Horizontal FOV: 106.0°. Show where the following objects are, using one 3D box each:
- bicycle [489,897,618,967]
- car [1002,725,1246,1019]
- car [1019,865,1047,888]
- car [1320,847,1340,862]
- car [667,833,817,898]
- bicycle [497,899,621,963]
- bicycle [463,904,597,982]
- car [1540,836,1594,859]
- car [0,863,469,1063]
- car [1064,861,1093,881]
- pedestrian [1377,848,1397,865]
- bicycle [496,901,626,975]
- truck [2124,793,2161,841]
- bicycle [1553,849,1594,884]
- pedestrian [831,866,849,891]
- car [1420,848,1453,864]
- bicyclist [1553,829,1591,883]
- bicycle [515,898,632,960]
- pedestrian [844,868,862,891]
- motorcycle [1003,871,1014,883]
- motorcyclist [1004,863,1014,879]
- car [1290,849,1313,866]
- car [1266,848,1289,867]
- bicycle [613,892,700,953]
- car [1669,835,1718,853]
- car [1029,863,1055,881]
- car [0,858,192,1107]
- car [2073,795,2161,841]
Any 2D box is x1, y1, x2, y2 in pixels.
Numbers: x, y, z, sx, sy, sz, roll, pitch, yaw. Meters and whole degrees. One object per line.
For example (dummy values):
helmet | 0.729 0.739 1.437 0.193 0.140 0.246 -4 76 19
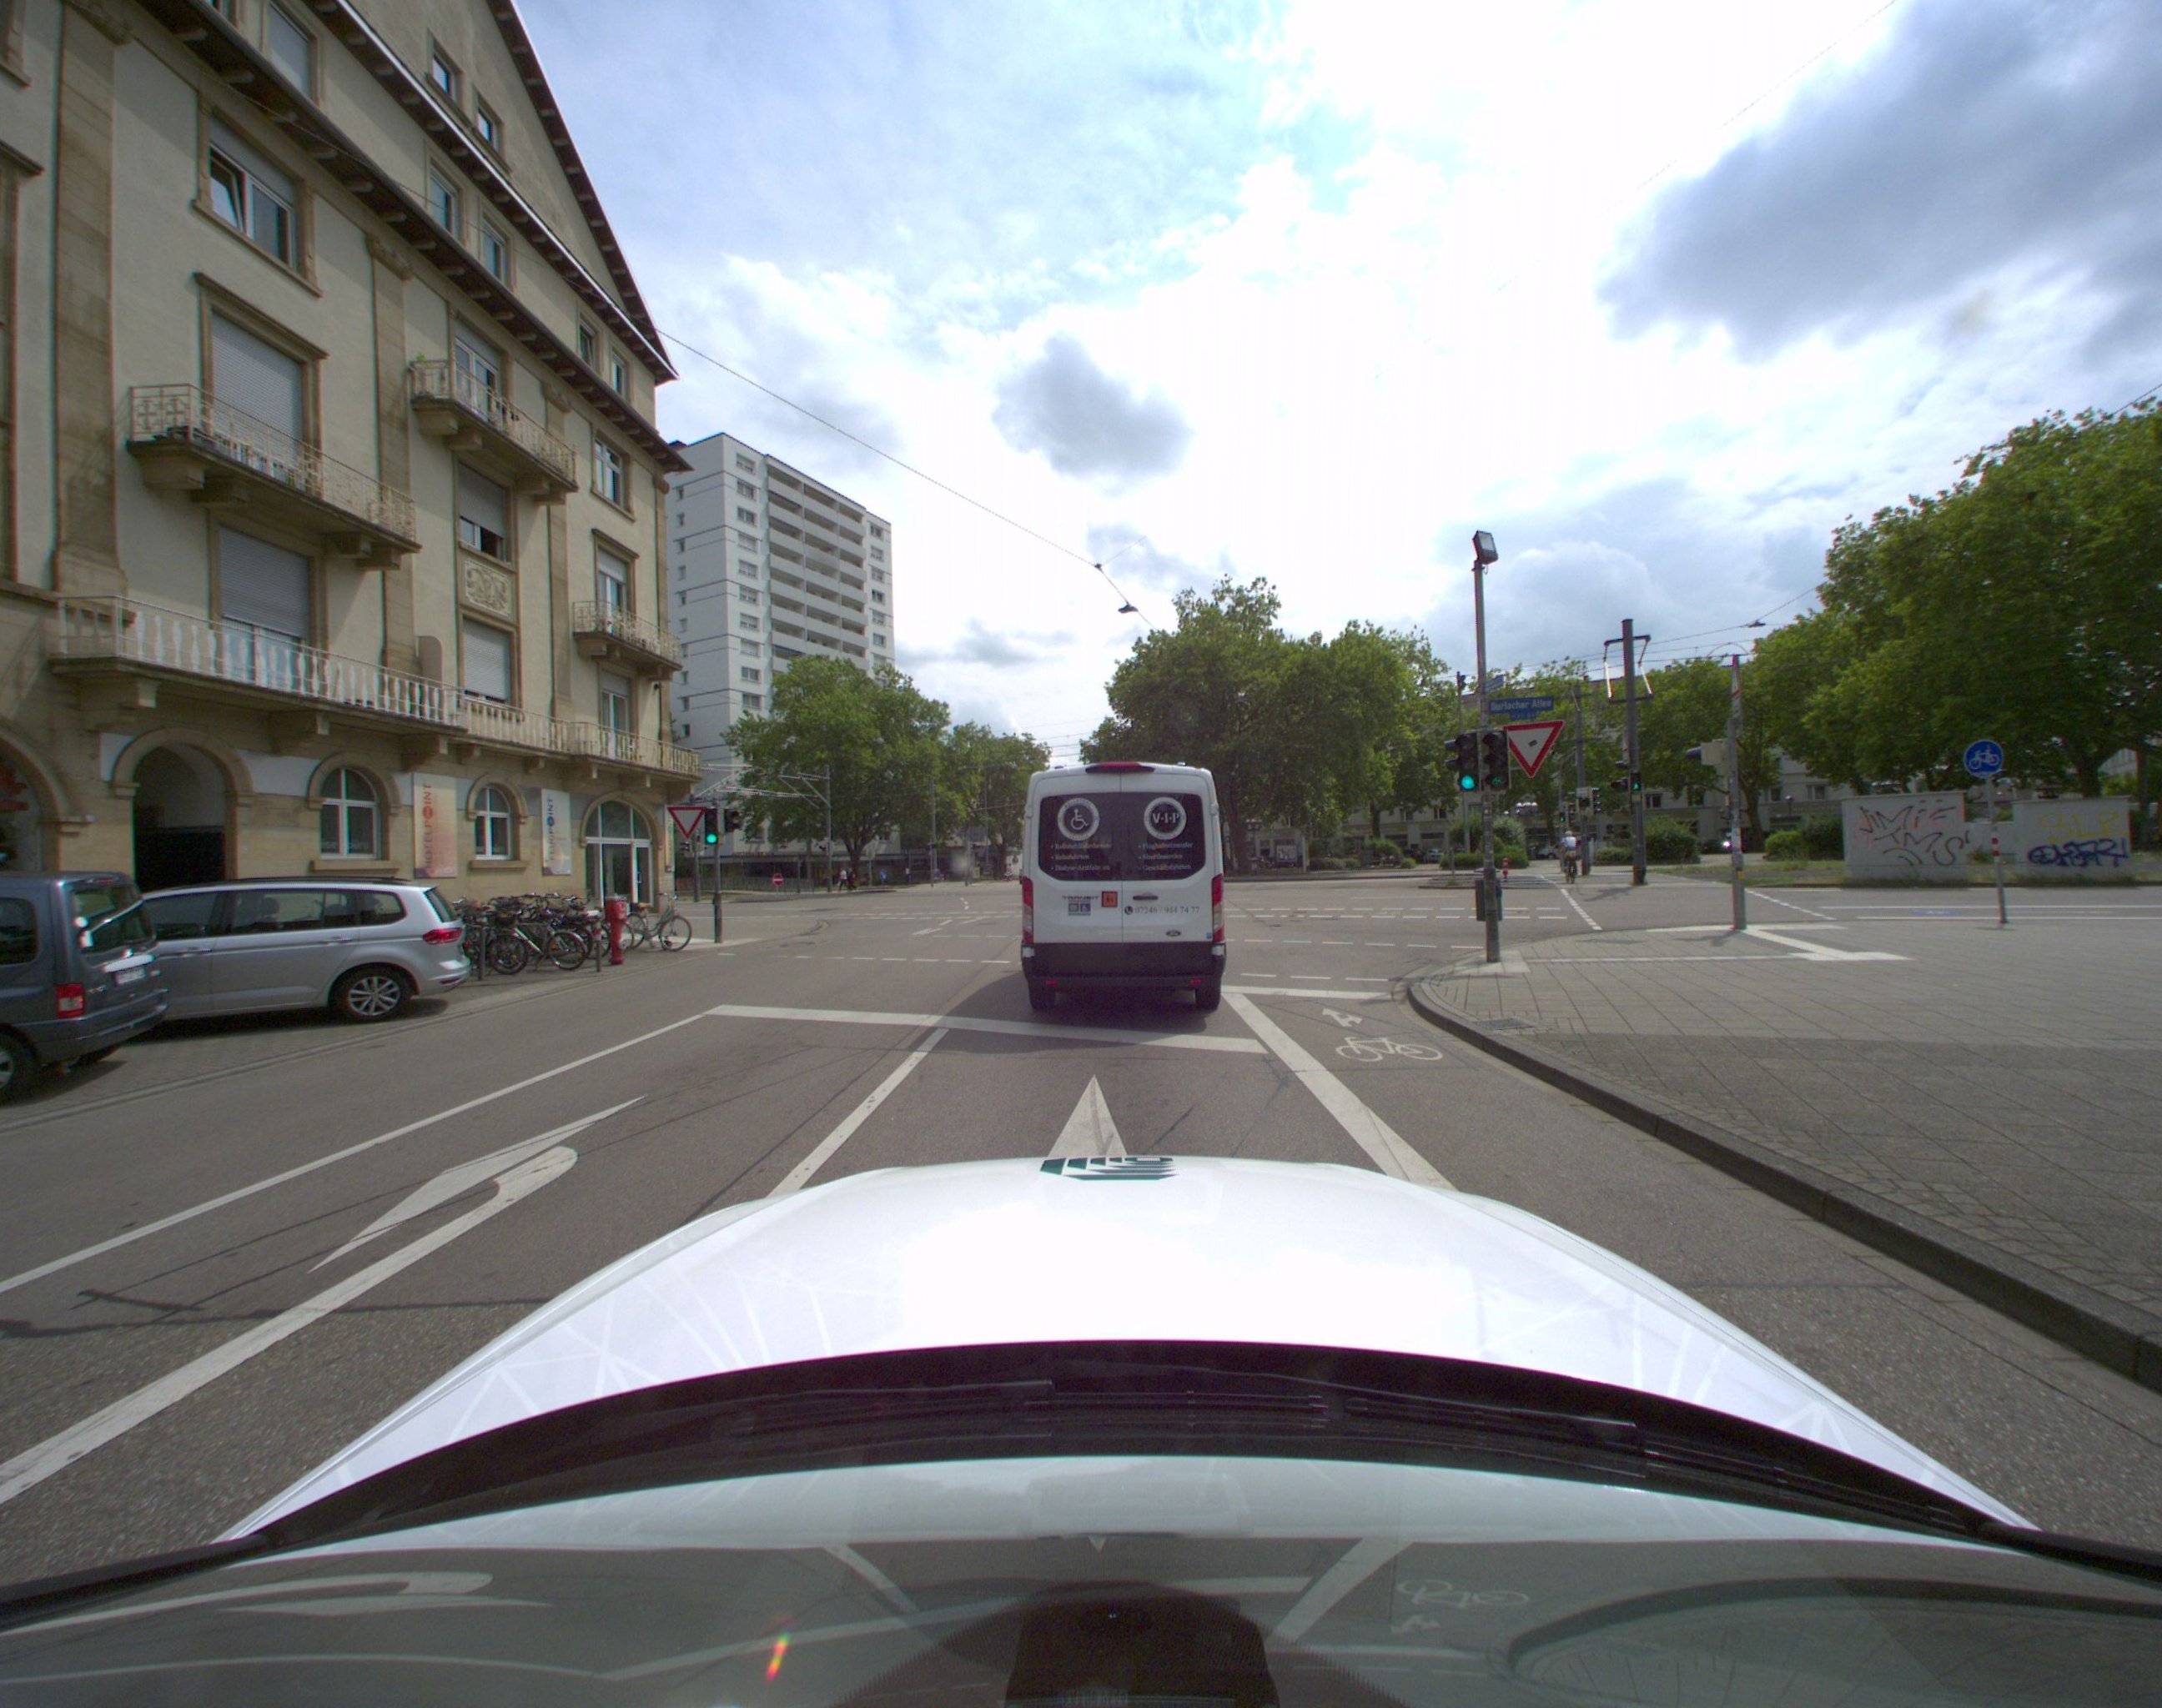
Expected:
bicycle | -9.246 1.356 14.329 1.807 1.166 0.593 0 -1 -6
car | 0.426 0.213 9.806 2.174 2.648 4.628 -2 -1 1
car | -3.472 1.622 59.546 1.585 1.508 3.810 -2 0 3
car | 30.010 0.096 98.146 1.788 1.684 4.023 -2 0 24
car | -22.493 0.781 53.907 9.792 3.915 3.476 -2 0 27
bicycle | -9.551 1.399 14.949 1.807 1.120 0.593 0 -1 -6
bicycle | -8.716 1.402 12.903 1.799 1.120 0.595 -2 -1 8
car | 43.926 -0.562 73.704 3.950 1.883 1.868 -3 -1 26
car | -9.564 1.071 9.340 4.031 1.773 1.776 -2 0 -37
car | -0.177 1.263 62.586 1.824 1.427 4.125 -2 0 4
pedestrian | 24.754 0.218 65.953 1.086 1.236 1.443 -4 -1 6
bicycle | -8.646 1.386 13.574 1.800 1.120 0.595 1 0 6
truck | 58.416 -2.011 41.983 3.042 2.577 6.549 -2 0 25
bicycle | 15.725 0.383 26.067 0.894 1.075 1.981 -2 0 25
pedestrian | -15.641 1.570 52.944 0.799 1.572 0.728 -2 -1 35
car | 36.366 0.182 83.432 1.983 1.503 4.008 -2 0 7
bicyclist | 15.686 0.062 26.035 0.895 1.683 0.761 -2 -1 25
bicycle | -9.733 1.427 15.651 1.807 1.120 0.593 0 -1 -6
pedestrian | -15.222 1.697 54.276 0.921 1.514 0.728 -2 -1 43
motorcycle | -6.419 2.015 72.158 0.680 0.971 2.325 -2 0 2
motorcyclist | -6.425 1.535 72.722 0.680 1.395 0.682 -2 0 2
car | 24.252 0.381 89.657 1.795 1.684 4.008 -2 0 7
car | 21.816 0.387 90.470 1.983 1.930 4.008 -2 0 7
bicycle | -8.729 1.386 16.729 1.859 1.167 0.500 0 -1 22
car | 55.845 -0.886 74.308 1.757 1.503 4.008 -2 0 7
car | -3.334 1.558 70.118 1.735 1.427 4.037 -2 0 4
car | -9.879 1.043 6.113 4.031 1.879 1.776 -2 0 -37
car | 65.337 -2.238 49.896 5.271 2.585 2.192 -2 -2 24
